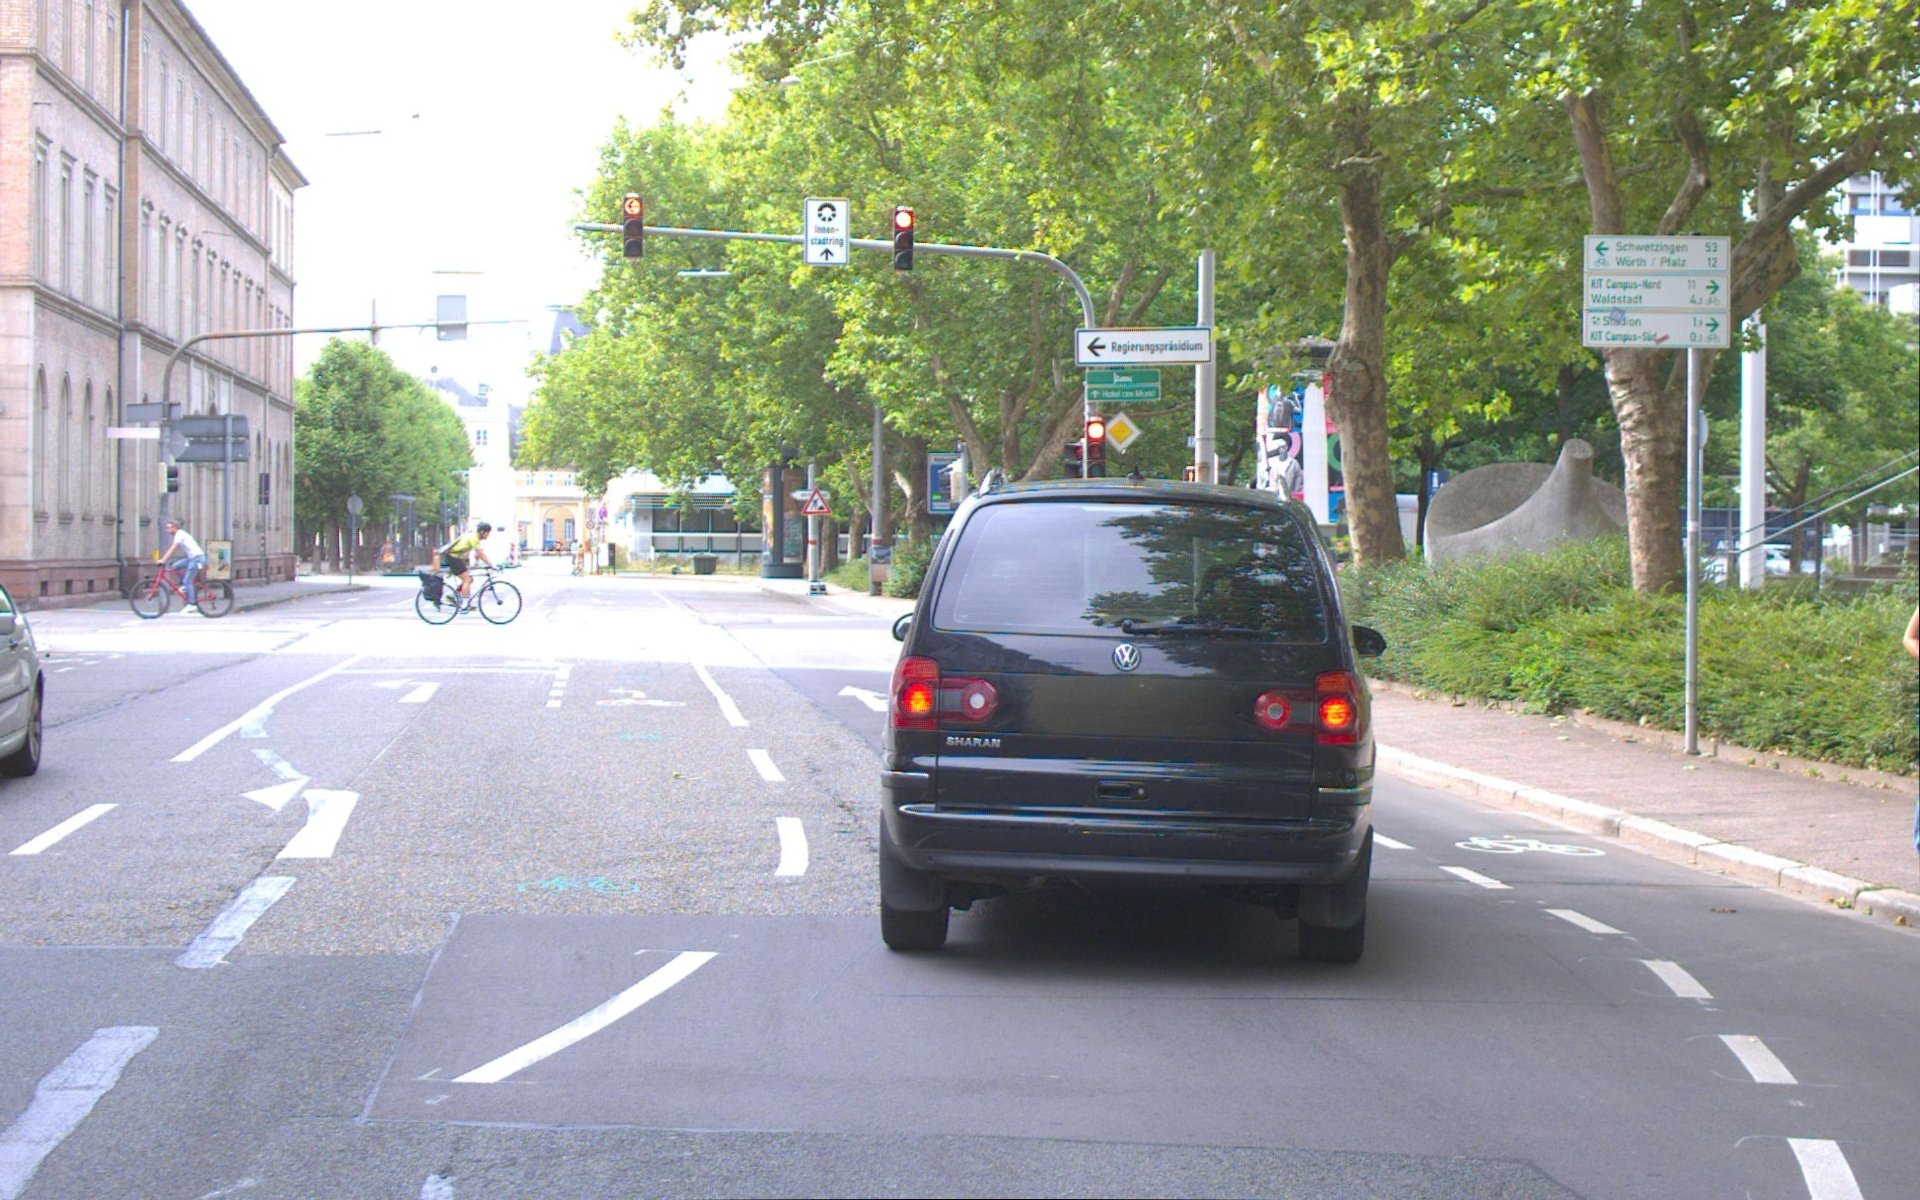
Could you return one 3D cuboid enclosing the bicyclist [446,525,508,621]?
[{"bbox_3d":[-7.642,-0.432,54.393,0.914,1.509,0.626,0,1,-14],"label":"bicyclist"}]

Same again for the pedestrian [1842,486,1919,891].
[{"bbox_3d":[4.518,0.378,15.460,0.710,1.777,1.034,-1,1,-7],"label":"pedestrian"}]

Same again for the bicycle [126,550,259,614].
[{"bbox_3d":[-13.369,-0.308,59.909,2.233,1.090,0.628,0,1,-10],"label":"bicycle"}]

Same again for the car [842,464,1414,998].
[{"bbox_3d":[0.752,0.382,13.695,1.874,1.739,4.573,1,1,5],"label":"car"}]

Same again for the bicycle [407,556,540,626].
[{"bbox_3d":[-7.696,-0.145,54.381,2.018,1.090,0.628,0,1,-14],"label":"bicycle"}]

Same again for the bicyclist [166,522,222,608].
[{"bbox_3d":[-13.339,-0.621,59.900,0.914,1.488,0.626,0,1,-10],"label":"bicyclist"}]

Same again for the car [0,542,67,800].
[{"bbox_3d":[-6.295,0.403,19.614,1.757,1.422,4.100,-1,1,-7],"label":"car"}]
